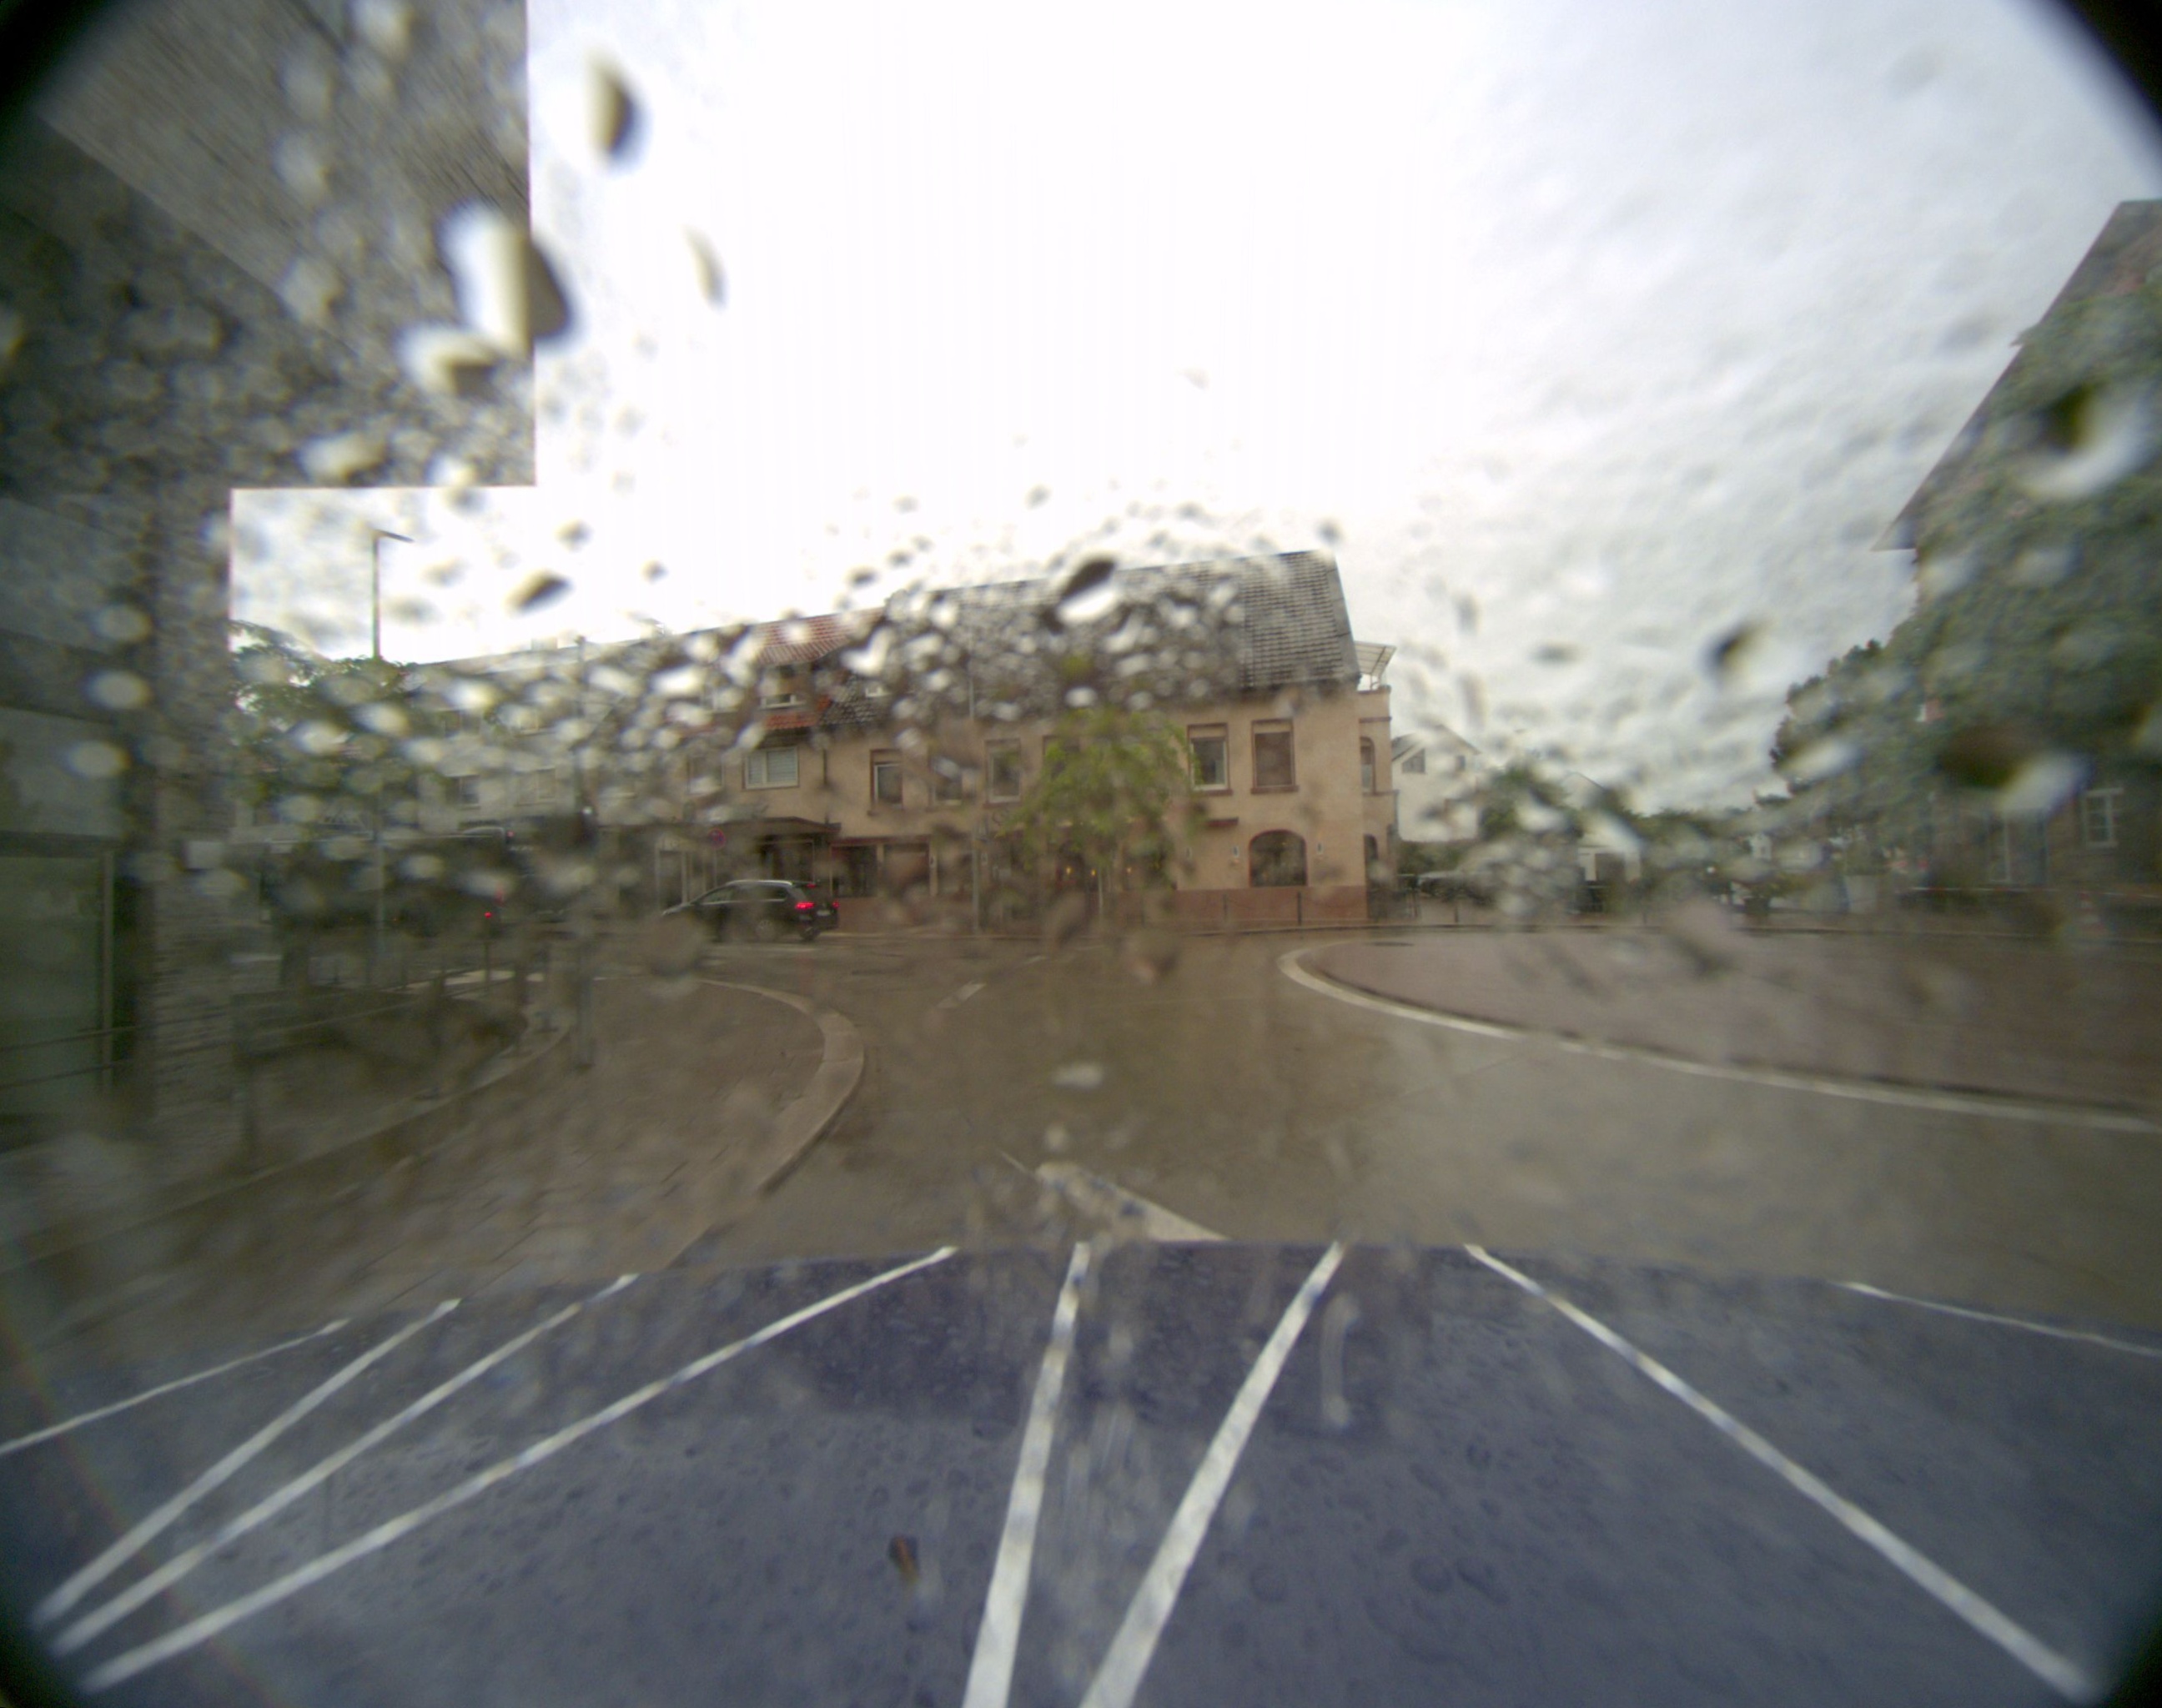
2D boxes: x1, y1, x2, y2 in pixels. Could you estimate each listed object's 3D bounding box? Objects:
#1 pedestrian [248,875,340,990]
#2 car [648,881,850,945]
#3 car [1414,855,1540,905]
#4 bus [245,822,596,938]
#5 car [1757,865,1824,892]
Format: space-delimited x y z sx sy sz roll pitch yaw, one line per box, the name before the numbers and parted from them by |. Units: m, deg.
pedestrian | -11.351 1.109 10.978 0.702 1.596 0.585 0 -2 11
car | -8.010 1.392 18.389 4.460 1.422 1.673 -2 -2 17
car | 16.467 1.042 31.869 4.478 2.002 2.003 0 0 20
bus | -20.031 0.779 22.937 10.923 3.061 2.736 -1 -1 18
car | 39.640 1.333 42.575 1.869 1.433 4.008 0 -1 30
